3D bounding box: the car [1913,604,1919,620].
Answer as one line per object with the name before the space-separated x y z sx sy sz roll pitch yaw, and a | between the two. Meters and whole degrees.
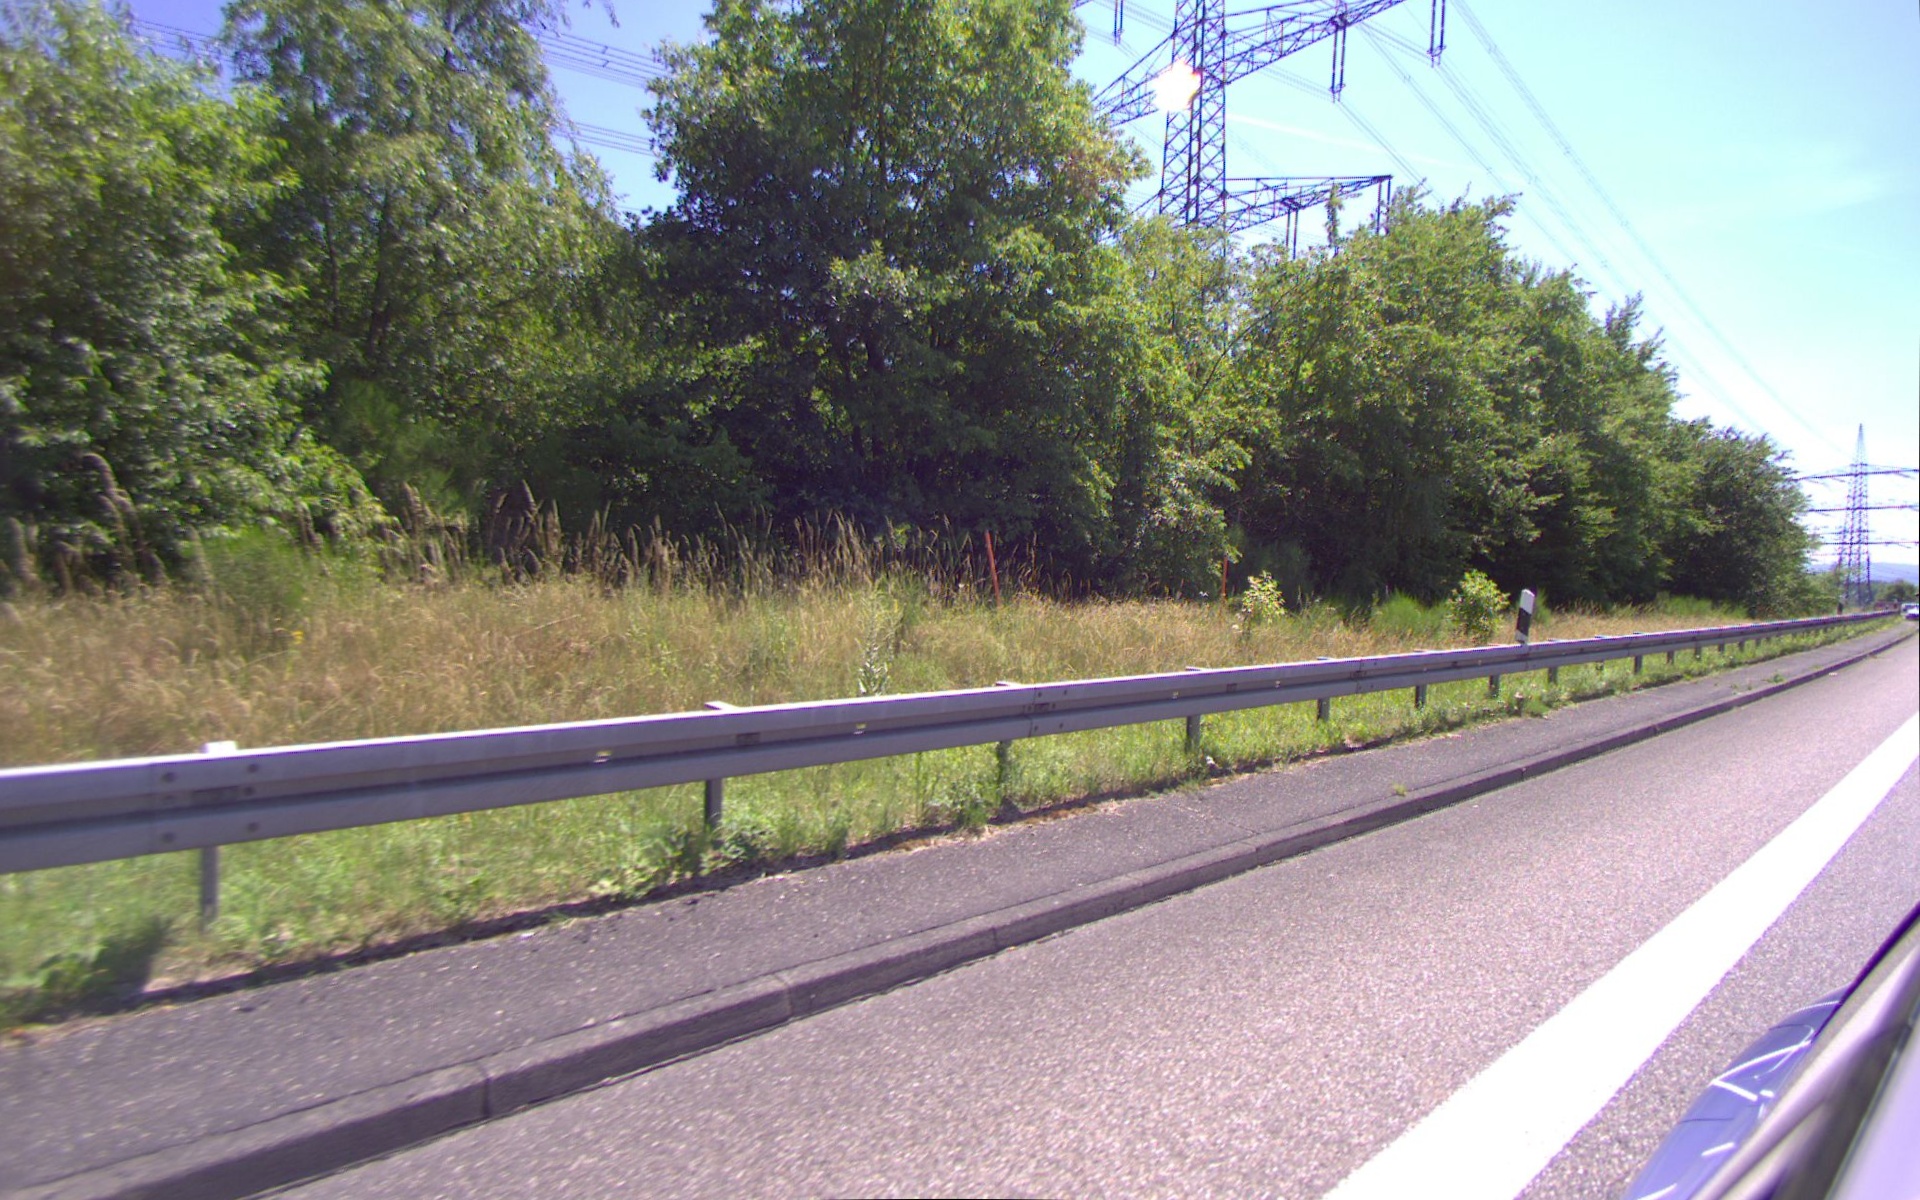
car | 104.762 1.323 109.575 1.990 1.705 3.944 1 0 39
